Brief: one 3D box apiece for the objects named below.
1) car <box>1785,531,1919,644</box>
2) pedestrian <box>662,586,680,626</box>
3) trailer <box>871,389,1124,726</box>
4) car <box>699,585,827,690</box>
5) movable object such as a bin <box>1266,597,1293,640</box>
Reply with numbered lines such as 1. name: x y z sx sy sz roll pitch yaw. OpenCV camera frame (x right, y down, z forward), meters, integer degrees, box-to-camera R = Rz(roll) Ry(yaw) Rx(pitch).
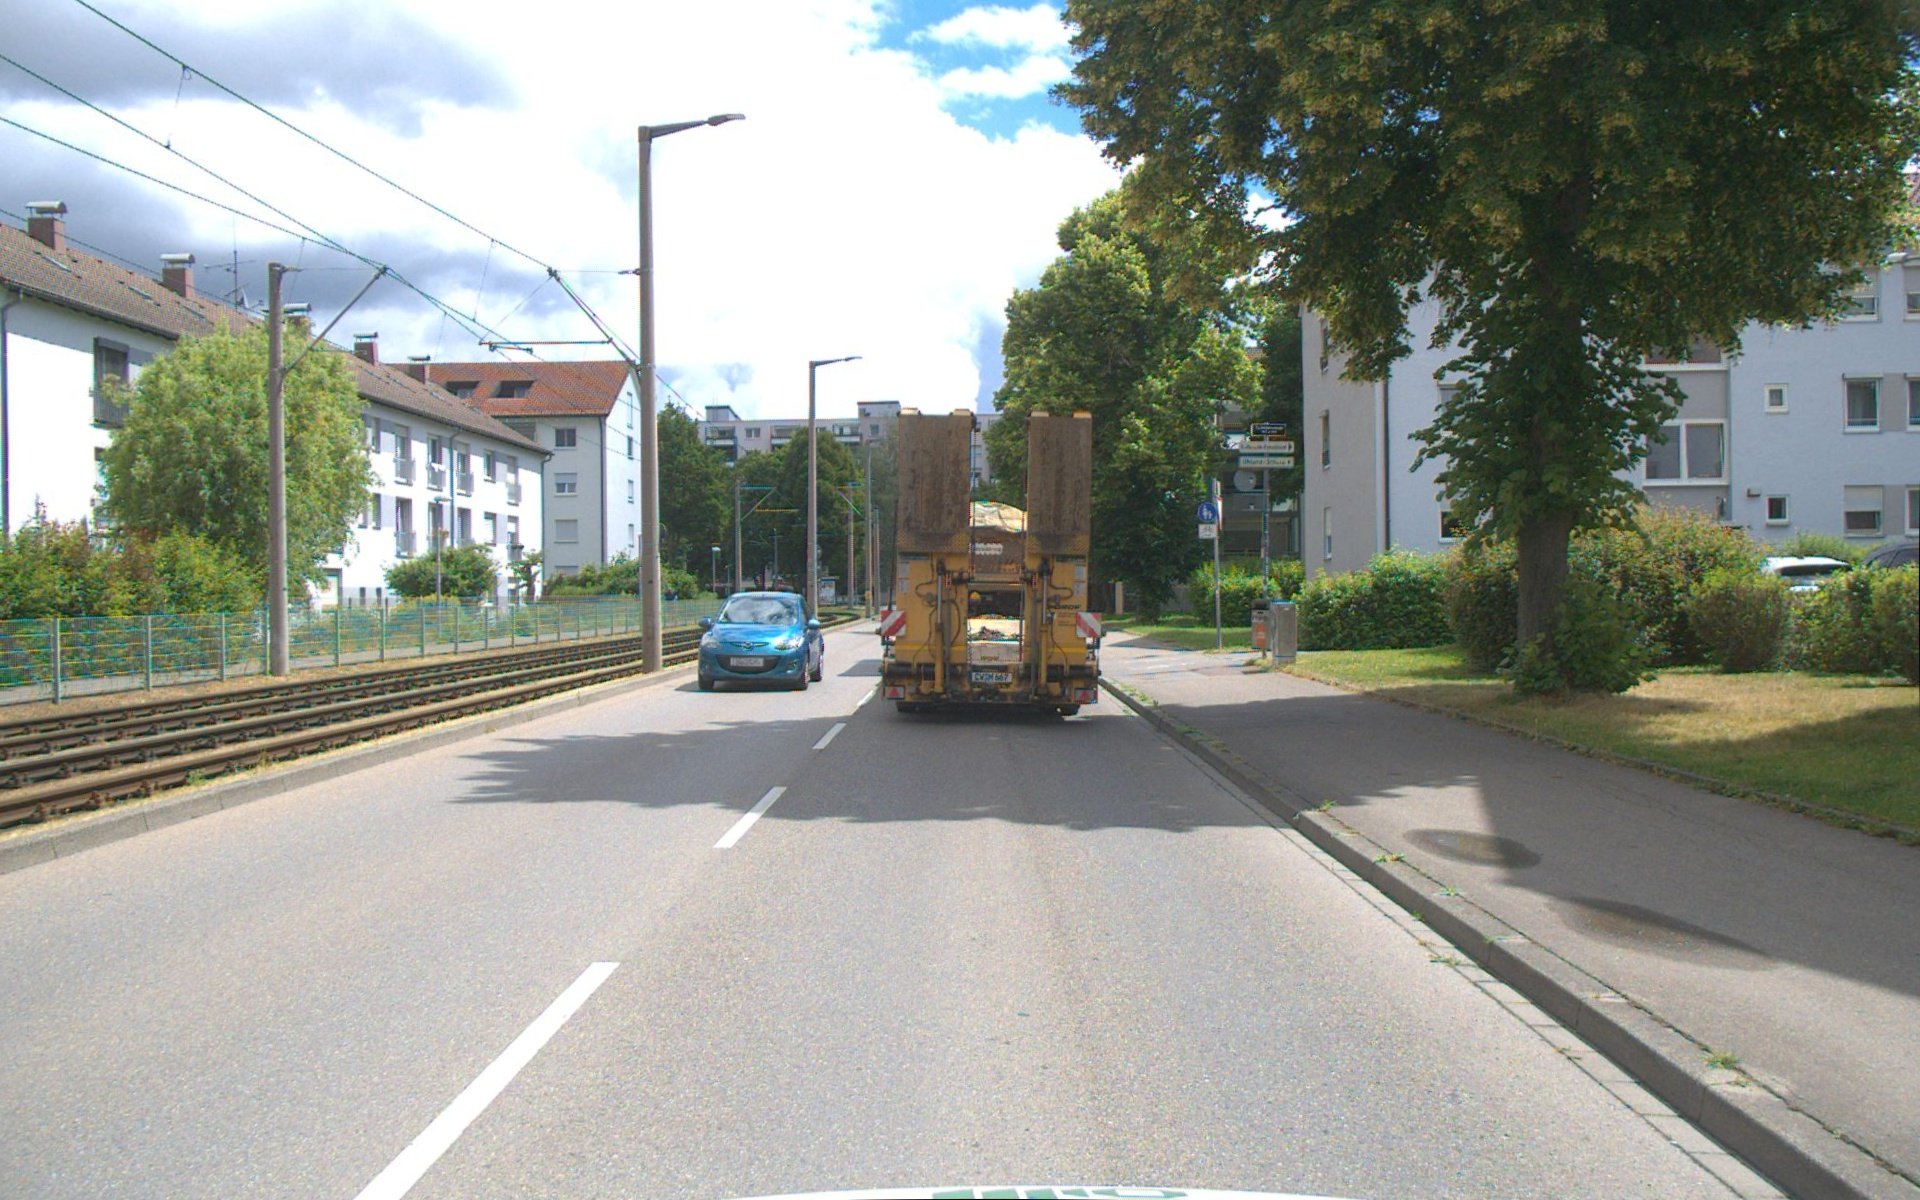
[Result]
1. car: 13.017 -0.144 22.606 1.641 1.440 3.743 1 0 1
2. pedestrian: -13.708 0.282 78.502 0.645 1.881 0.768 -2 0 0
3. trailer: 0.206 -0.457 24.559 2.770 3.710 12.348 1 0 -2
4. car: -3.050 0.554 26.211 1.590 1.552 3.581 0 0 0
5. movable object such as a bin: 7.417 0.427 38.352 0.486 0.971 0.580 -2 0 0
